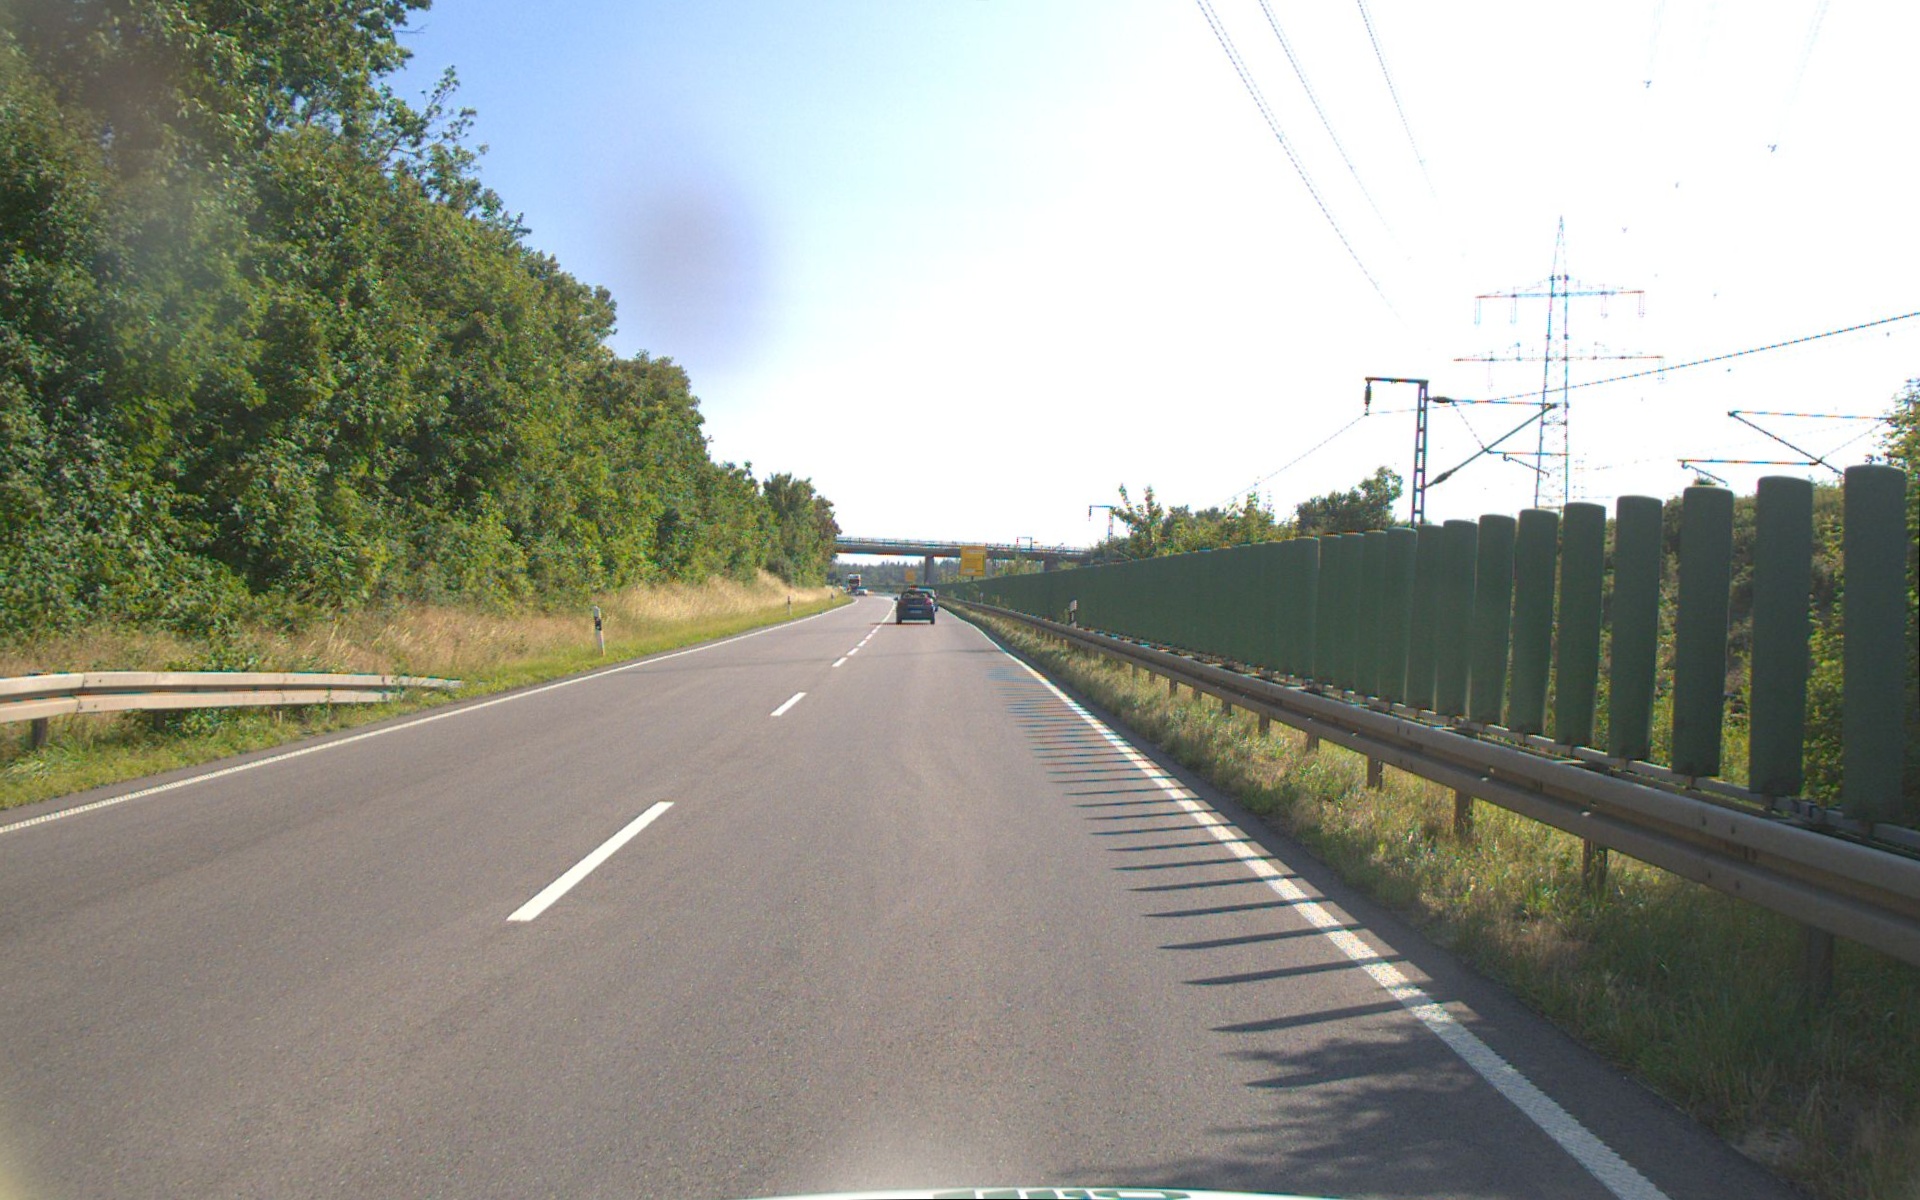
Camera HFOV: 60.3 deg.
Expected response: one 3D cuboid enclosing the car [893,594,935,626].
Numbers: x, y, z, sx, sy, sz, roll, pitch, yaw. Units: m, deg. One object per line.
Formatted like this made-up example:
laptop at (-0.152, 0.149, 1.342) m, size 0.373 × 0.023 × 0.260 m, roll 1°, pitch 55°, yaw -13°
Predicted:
car at (-1.962, 0.406, 69.542) m, size 1.630 × 1.283 × 3.997 m, roll 1°, pitch 0°, yaw -3°
